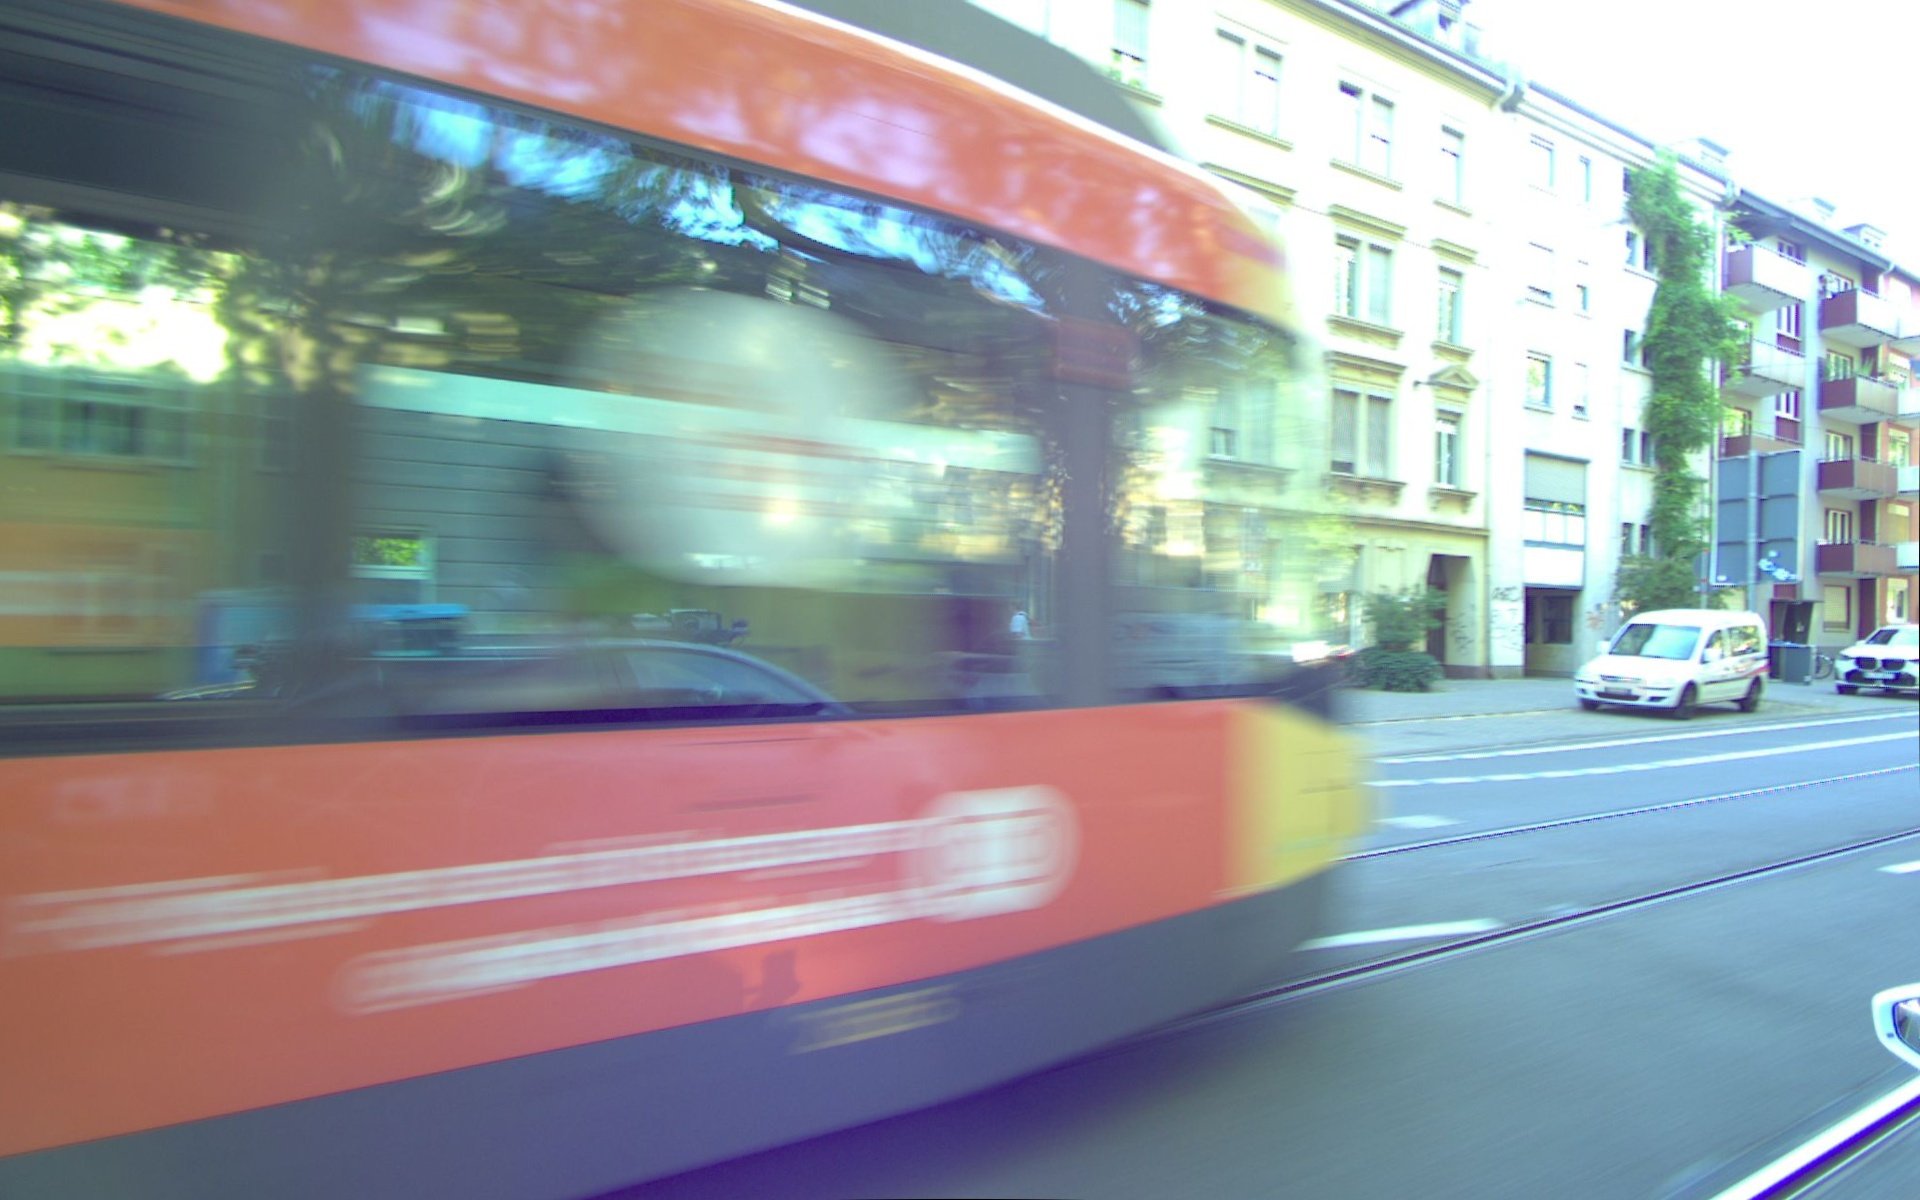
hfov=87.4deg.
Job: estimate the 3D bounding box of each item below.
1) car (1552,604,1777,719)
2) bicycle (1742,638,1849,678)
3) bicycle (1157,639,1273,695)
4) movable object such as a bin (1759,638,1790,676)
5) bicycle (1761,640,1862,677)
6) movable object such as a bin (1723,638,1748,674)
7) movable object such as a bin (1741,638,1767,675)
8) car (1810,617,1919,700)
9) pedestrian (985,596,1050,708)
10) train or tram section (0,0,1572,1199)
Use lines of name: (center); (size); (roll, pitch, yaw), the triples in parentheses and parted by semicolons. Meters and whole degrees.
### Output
car: (12.625, 1.020, 17.920); (4.423, 1.794, 1.778); (1, 1, -33)
bicycle: (25.719, 1.766, 30.965); (0.691, 1.076, 2.436); (1, 1, -32)
bicycle: (4.812, 1.254, 18.926); (2.105, 0.984, 0.646); (1, 0, -20)
movable object such as a bin: (24.025, 1.673, 29.625); (0.492, 1.114, 0.576); (1, 0, -30)
bicycle: (26.698, 1.814, 31.541); (0.691, 1.006, 2.276); (1, 1, -32)
movable object such as a bin: (23.509, 1.702, 30.459); (0.486, 1.069, 0.458); (1, 0, -30)
movable object such as a bin: (23.758, 1.680, 30.068); (0.486, 1.069, 0.458); (1, 0, -30)
car: (21.855, 1.319, 23.197); (4.827, 1.670, 1.942); (2, 0, -31)
pedestrian: (0.885, 0.786, 15.542); (0.679, 1.654, 0.723); (1, 1, -31)
train or tram section: (-4.403, -0.323, 1.527); (14.033, 3.532, 2.894); (1, -1, -31)
